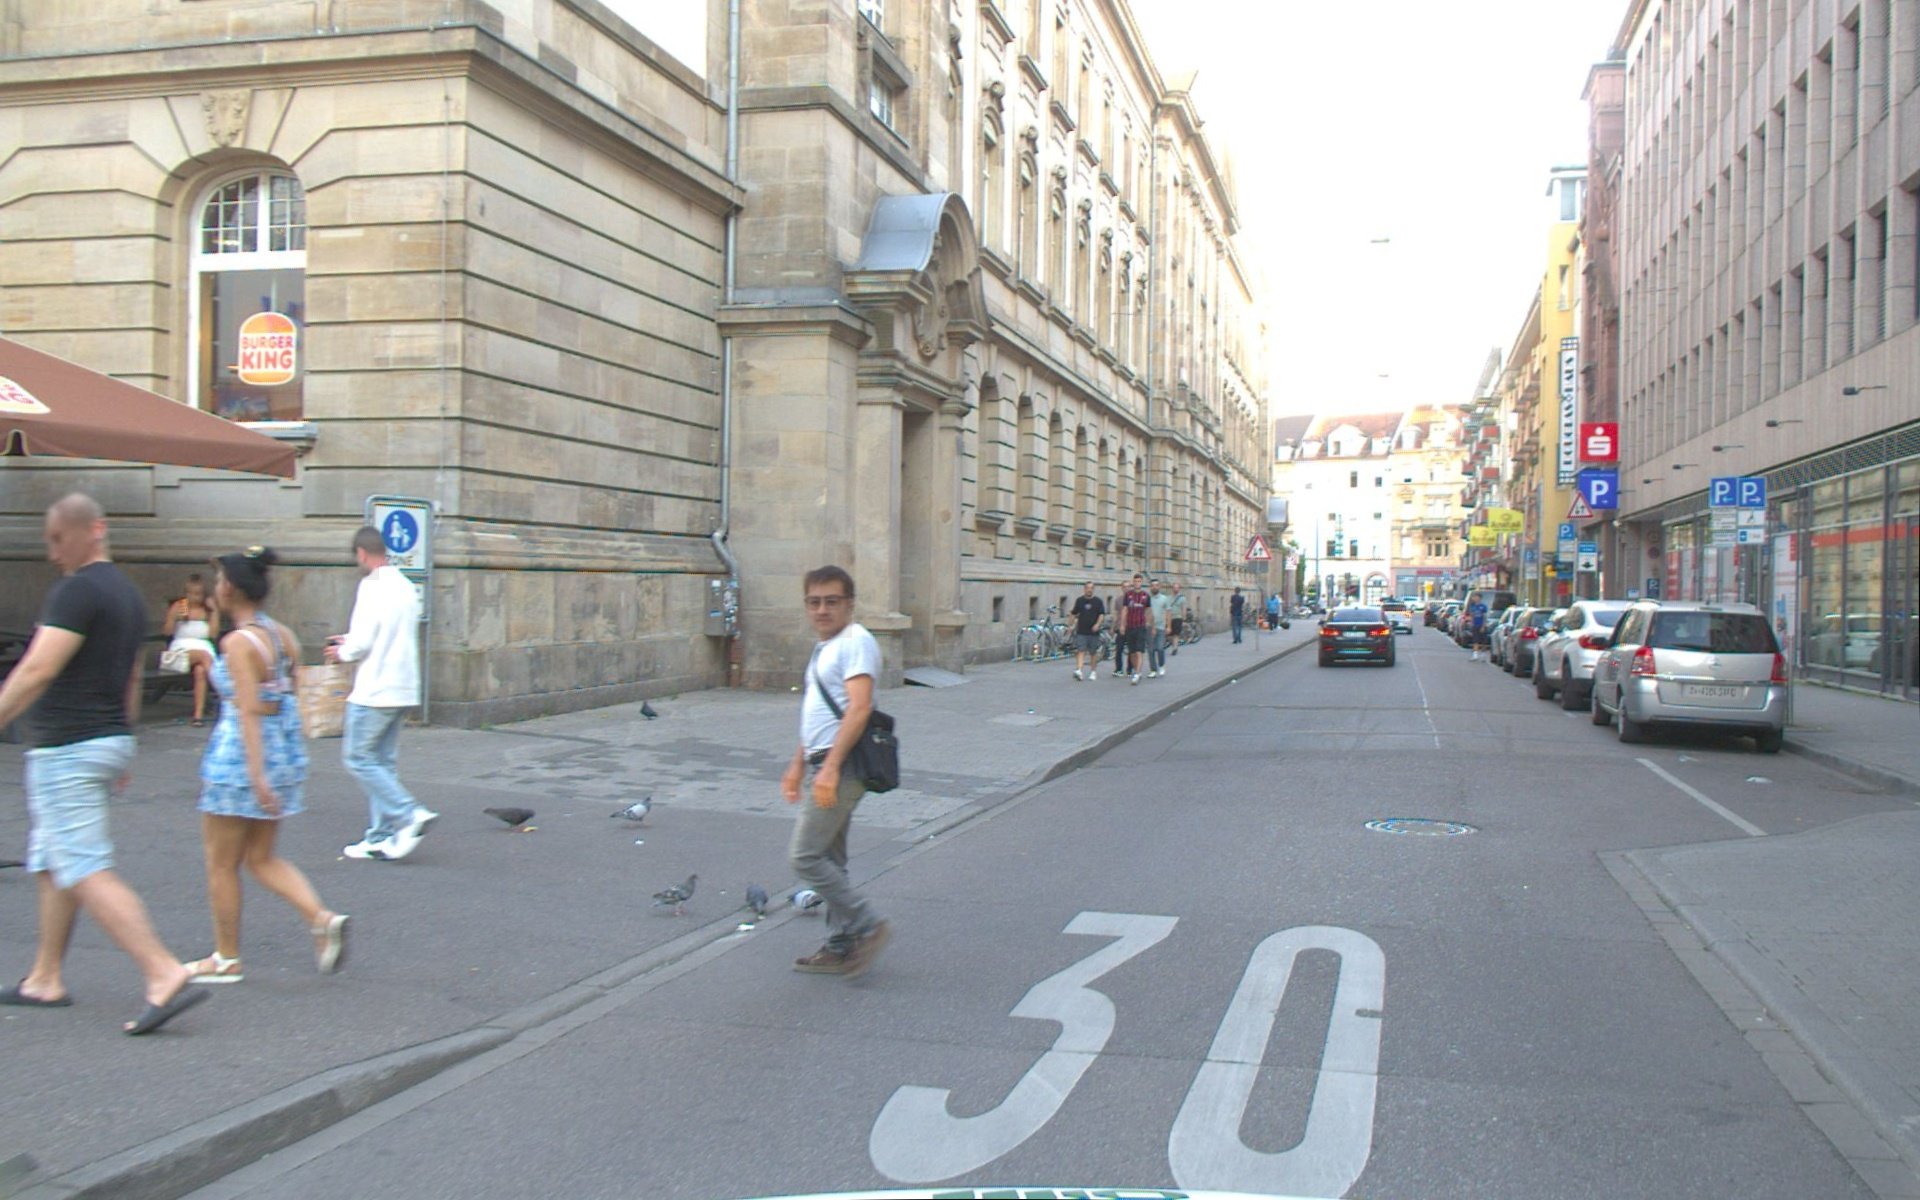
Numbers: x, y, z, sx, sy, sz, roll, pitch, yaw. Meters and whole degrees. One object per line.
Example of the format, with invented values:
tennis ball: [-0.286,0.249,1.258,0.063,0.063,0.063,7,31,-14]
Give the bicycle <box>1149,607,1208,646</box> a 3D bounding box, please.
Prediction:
bicycle: [6.493,0.776,49.160,1.644,1.059,0.488,3,0,14]

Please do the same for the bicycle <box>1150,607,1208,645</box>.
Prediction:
bicycle: [6.569,0.778,49.620,1.644,1.059,0.488,3,0,14]

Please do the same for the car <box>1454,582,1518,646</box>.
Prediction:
car: [18.425,0.466,58.063,1.830,2.053,3.768,3,1,14]

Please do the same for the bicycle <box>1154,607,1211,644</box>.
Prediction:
bicycle: [6.853,0.786,50.877,1.644,1.059,0.488,3,0,14]

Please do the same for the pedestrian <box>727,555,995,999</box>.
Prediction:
pedestrian: [-0.412,0.676,6.792,0.860,1.675,0.725,1,-1,-30]

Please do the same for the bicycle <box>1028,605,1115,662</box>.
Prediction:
bicycle: [2.264,0.672,33.546,1.645,1.059,0.487,3,1,20]

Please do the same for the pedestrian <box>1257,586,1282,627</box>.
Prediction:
pedestrian: [13.236,0.272,70.679,0.913,1.664,0.655,4,1,12]

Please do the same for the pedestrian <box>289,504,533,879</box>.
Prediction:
pedestrian: [-2.937,0.459,8.923,0.853,1.871,0.868,3,1,9]

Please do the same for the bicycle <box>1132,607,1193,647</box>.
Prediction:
bicycle: [5.808,0.761,47.490,1.644,1.059,0.488,3,0,14]

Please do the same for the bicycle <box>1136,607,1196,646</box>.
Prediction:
bicycle: [5.979,0.764,47.916,1.644,1.059,0.488,3,0,14]

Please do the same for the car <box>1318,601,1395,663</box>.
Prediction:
car: [9.675,0.750,40.288,1.732,1.433,4.055,0,0,14]

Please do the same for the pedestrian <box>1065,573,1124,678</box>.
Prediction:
pedestrian: [2.302,0.425,28.209,0.780,1.704,0.976,4,1,12]

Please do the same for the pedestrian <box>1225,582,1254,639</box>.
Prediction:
pedestrian: [9.024,0.339,53.408,0.787,1.782,0.811,4,1,12]

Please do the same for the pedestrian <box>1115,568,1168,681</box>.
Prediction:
pedestrian: [3.087,0.407,28.042,0.683,1.843,0.976,4,1,12]

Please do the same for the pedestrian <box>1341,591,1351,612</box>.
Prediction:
pedestrian: [33.760,0.132,144.650,0.651,1.782,0.681,4,1,11]

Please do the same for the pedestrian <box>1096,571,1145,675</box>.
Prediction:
pedestrian: [2.878,0.406,29.692,0.674,1.782,0.722,4,1,12]

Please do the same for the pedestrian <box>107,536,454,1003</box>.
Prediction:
pedestrian: [-2.535,0.592,6.245,0.853,1.609,0.807,1,-1,15]

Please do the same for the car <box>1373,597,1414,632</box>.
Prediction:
car: [20.246,0.675,77.341,1.756,1.536,4.003,1,1,14]

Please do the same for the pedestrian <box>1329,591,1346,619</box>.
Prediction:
pedestrian: [24.750,0.307,108.395,0.913,1.782,0.811,4,1,11]

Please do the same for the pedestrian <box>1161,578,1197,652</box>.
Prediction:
pedestrian: [5.457,0.373,41.172,0.703,1.782,0.669,4,1,12]

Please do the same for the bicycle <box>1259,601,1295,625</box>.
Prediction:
bicycle: [15.432,0.638,80.528,1.644,1.059,0.487,4,1,16]

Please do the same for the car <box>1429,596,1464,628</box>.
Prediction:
car: [25.649,0.623,87.287,1.609,1.549,3.287,3,1,14]

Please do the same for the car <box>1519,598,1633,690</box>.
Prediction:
car: [11.522,0.777,31.102,1.609,1.549,3.287,3,1,14]

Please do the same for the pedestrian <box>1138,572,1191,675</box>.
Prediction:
pedestrian: [3.713,0.419,29.960,0.770,1.782,0.722,4,1,12]

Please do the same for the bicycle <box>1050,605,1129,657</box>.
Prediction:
bicycle: [2.835,0.683,36.330,1.646,1.059,0.487,3,0,-2]

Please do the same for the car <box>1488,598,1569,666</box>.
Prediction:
car: [14.243,0.771,41.578,1.609,1.549,3.287,3,1,14]

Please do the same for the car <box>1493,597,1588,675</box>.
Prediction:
car: [12.660,0.740,36.204,1.609,1.549,3.287,3,1,14]

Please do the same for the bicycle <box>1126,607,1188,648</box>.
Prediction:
bicycle: [5.507,0.752,46.289,1.644,1.059,0.488,3,0,14]

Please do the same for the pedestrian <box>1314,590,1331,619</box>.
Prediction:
pedestrian: [23.740,0.293,108.340,0.913,1.782,0.811,4,1,11]

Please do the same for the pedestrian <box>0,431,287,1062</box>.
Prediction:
pedestrian: [-2.865,0.431,5.415,0.853,1.872,0.807,1,-1,15]

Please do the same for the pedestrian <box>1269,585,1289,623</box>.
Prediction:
pedestrian: [15.404,0.182,79.874,0.790,1.782,0.937,4,1,14]

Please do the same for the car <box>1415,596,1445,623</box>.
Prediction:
car: [28.750,0.558,101.249,1.609,1.549,3.287,3,1,14]

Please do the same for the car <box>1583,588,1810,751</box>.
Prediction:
car: [8.680,0.734,19.825,1.732,1.664,4.055,3,1,14]

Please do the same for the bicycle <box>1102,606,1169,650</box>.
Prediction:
bicycle: [4.561,0.729,43.047,1.644,1.059,0.488,3,0,14]

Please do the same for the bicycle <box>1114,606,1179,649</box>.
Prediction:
bicycle: [4.992,0.739,44.248,1.644,1.059,0.488,3,0,14]

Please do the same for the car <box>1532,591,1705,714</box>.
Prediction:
car: [10.067,0.732,25.572,1.732,1.664,4.094,3,1,12]

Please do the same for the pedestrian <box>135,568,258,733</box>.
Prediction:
pedestrian: [-6.623,0.418,14.344,0.759,1.331,0.661,6,3,39]

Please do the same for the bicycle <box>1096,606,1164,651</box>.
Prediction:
bicycle: [4.347,0.723,42.242,1.644,1.059,0.488,3,0,14]

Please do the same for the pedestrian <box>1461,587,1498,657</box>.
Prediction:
pedestrian: [13.793,0.579,43.932,0.712,1.822,0.820,0,0,36]
